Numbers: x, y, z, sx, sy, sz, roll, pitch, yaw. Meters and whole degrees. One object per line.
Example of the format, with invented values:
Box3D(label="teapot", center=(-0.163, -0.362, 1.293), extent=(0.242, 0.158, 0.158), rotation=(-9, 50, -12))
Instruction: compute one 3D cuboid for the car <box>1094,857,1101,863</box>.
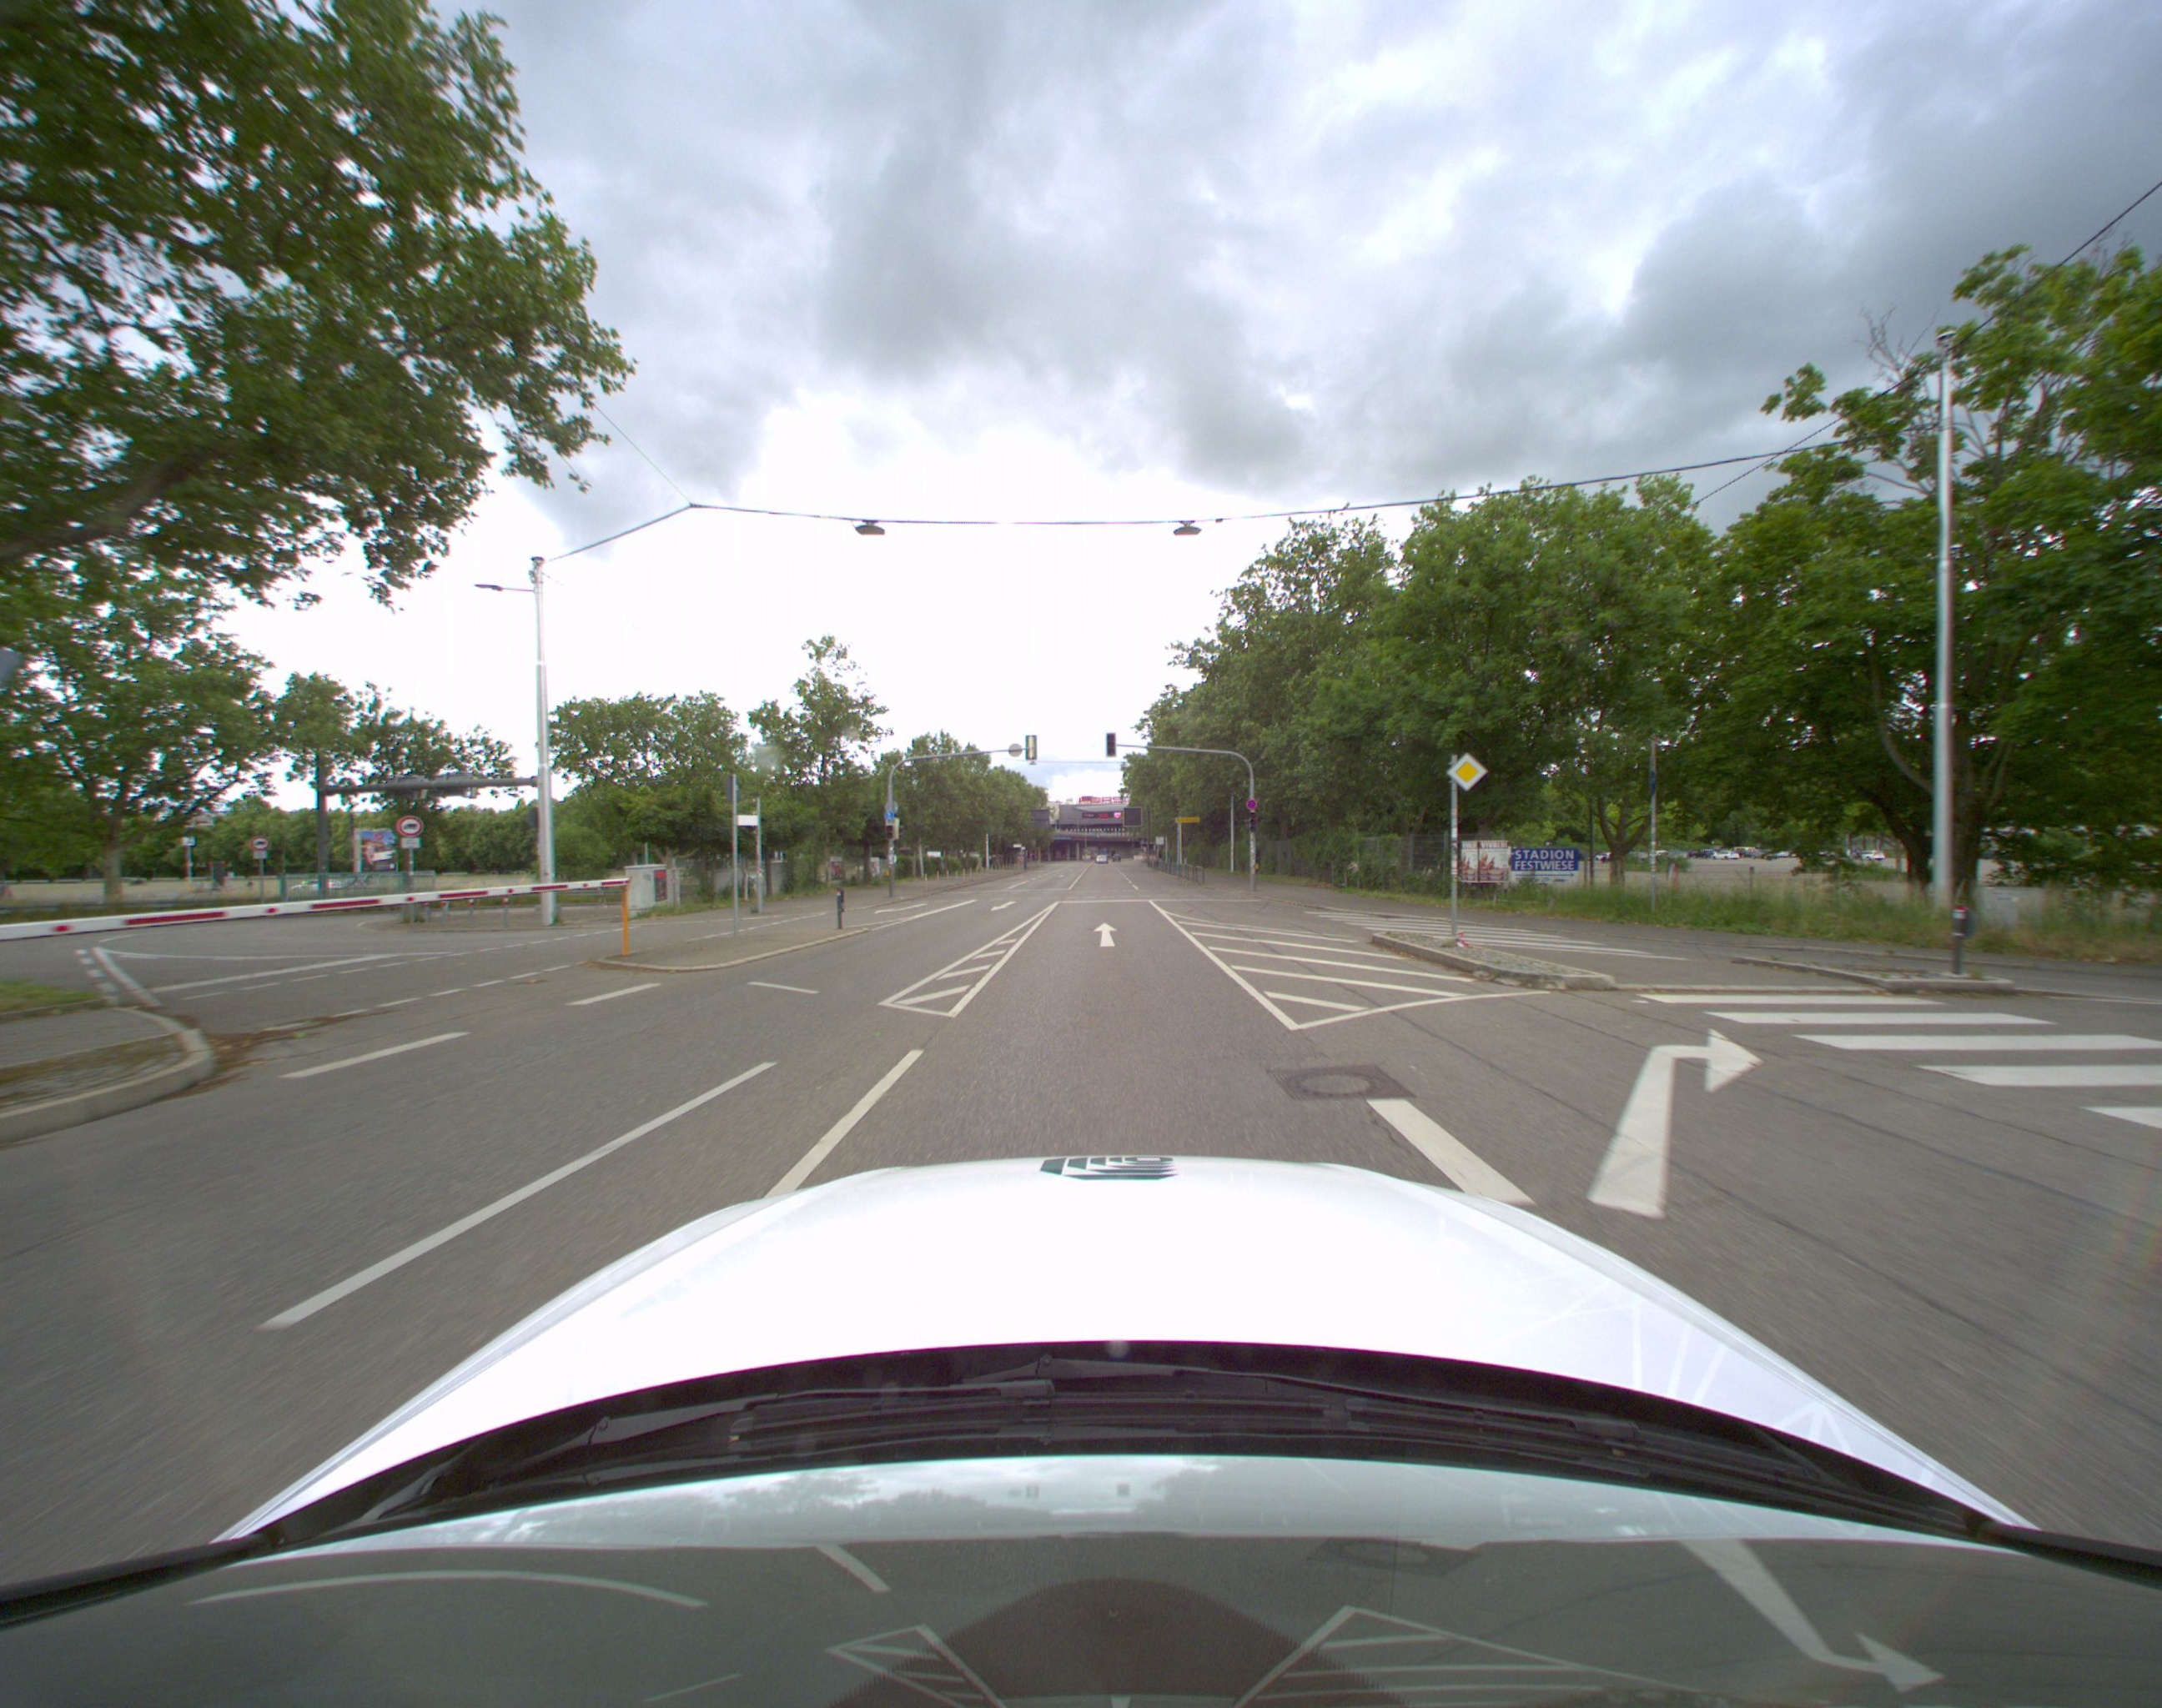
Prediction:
Box3D(label="car", center=(3.333, 1.141, 161.304), extent=(1.406, 1.113, 3.039), rotation=(0, 0, 2))

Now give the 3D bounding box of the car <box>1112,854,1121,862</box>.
Box3D(label="car", center=(8.022, 0.969, 184.984), extent=(1.999, 1.698, 4.072), rotation=(0, 0, 3))

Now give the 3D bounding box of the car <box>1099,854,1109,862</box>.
Box3D(label="car", center=(4.315, 0.790, 152.197), extent=(1.771, 1.460, 3.824), rotation=(1, 0, 2))

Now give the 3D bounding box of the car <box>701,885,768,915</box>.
Box3D(label="car", center=(-24.493, 3.216, 57.676), extent=(1.867, 1.835, 4.611), rotation=(0, 0, 15))
